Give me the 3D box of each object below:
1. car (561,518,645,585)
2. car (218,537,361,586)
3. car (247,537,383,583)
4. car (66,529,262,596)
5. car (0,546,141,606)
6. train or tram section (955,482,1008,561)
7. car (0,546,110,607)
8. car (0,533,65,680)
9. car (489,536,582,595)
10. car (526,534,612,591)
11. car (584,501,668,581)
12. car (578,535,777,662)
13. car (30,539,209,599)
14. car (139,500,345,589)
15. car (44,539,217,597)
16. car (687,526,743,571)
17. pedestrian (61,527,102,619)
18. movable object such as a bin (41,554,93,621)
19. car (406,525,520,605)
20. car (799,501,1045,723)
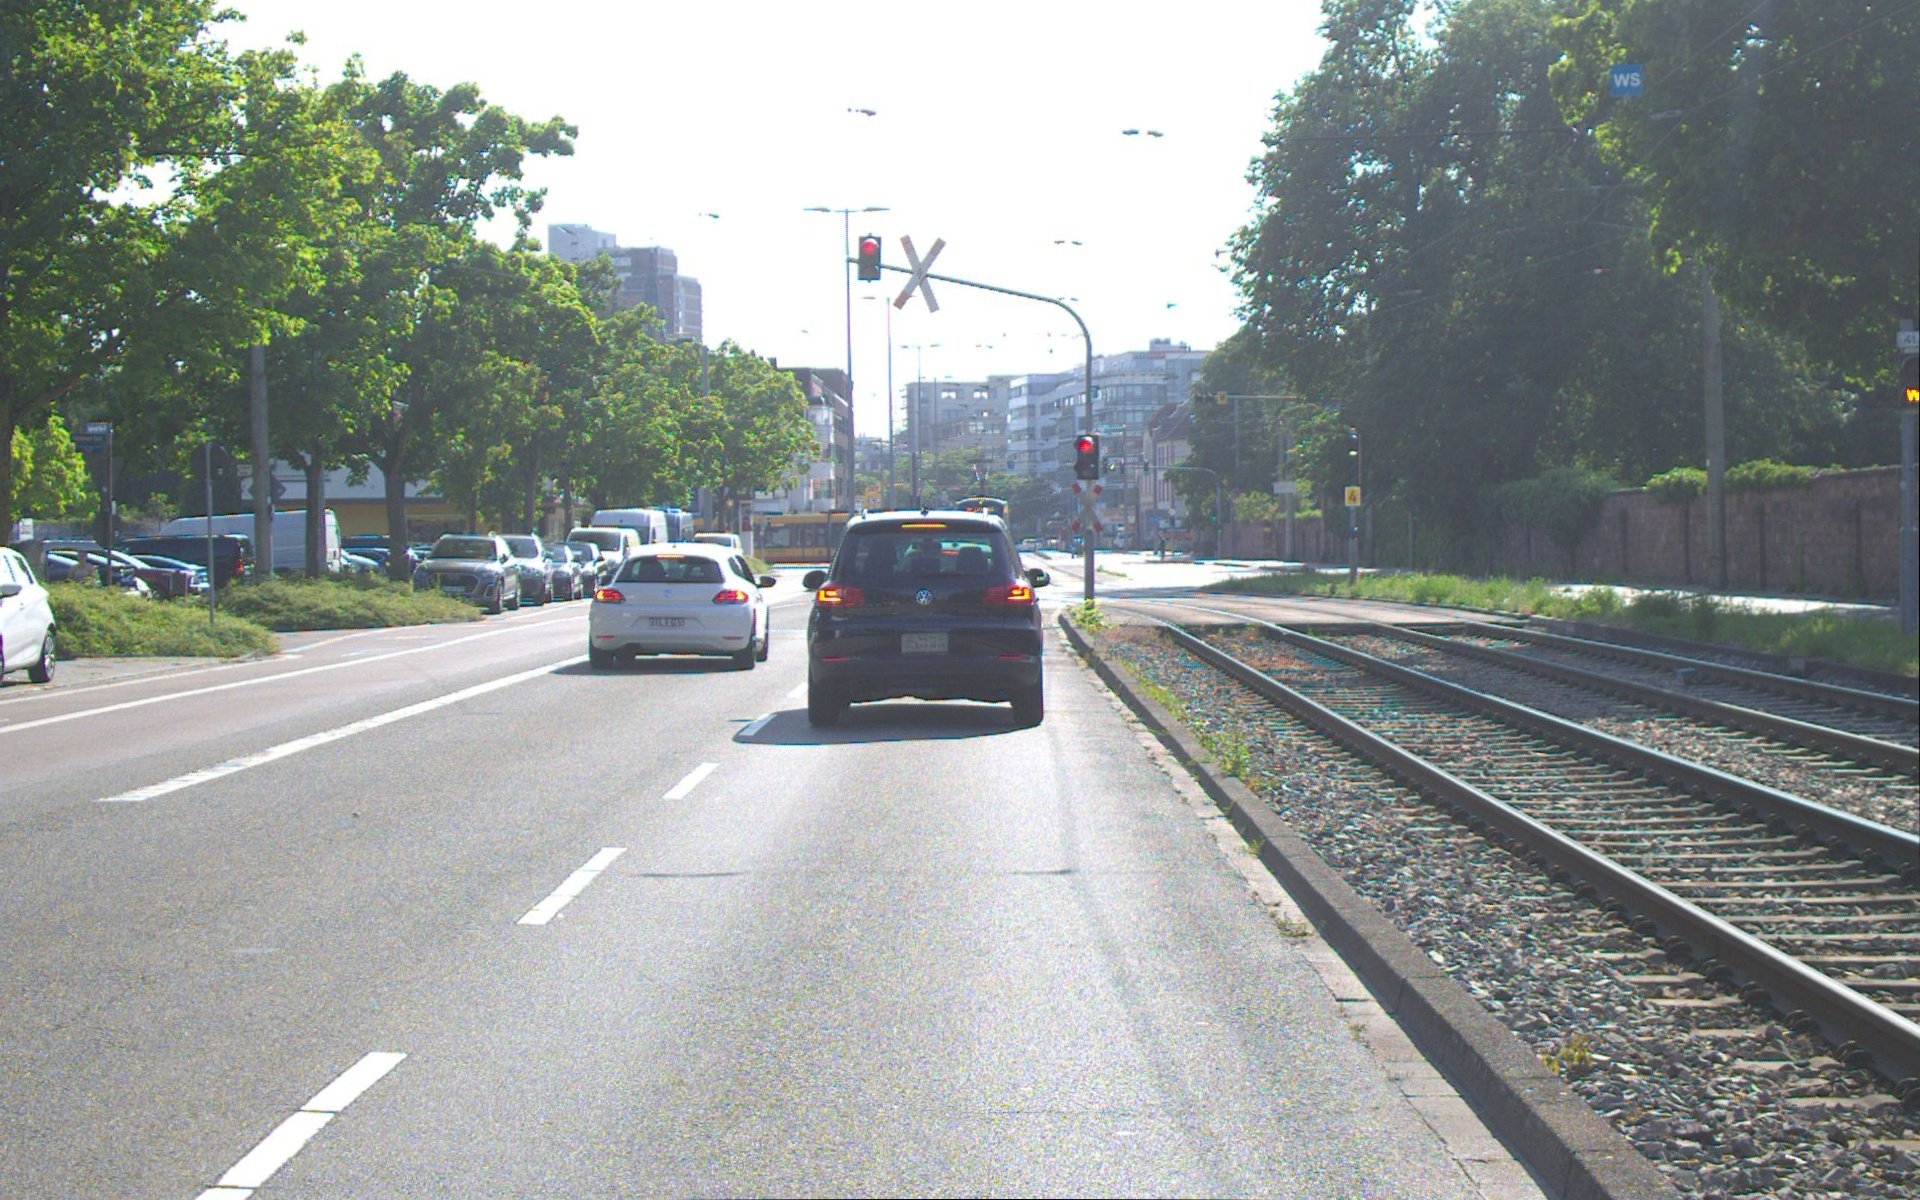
[{"bbox_3d":[-10.136,-1.405,97.922,1.732,1.853,4.489,-1,1,2],"label":"car"},{"bbox_3d":[-20.138,-1.160,103.398,3.986,1.392,1.738,-1,1,-2],"label":"car"},{"bbox_3d":[-20.402,-1.271,108.875,3.986,1.392,1.738,-1,1,-2],"label":"car"},{"bbox_3d":[-20.798,-0.999,89.957,4.617,1.646,2.049,-1,1,-1],"label":"car"},{"bbox_3d":[-21.032,-0.560,79.109,3.986,1.302,1.738,-1,1,-2],"label":"car"},{"bbox_3d":[1.049,-3.702,162.175,2.326,3.558,8.900,-1,1,1],"label":"train or tram section"},{"bbox_3d":[-21.118,-0.506,76.519,3.986,1.302,1.738,-1,1,-2],"label":"car"},{"bbox_3d":[-11.018,0.047,37.344,1.600,1.545,3.895,1,1,-1],"label":"car"},{"bbox_3d":[-10.686,-0.876,86.736,1.732,1.384,3.735,-1,2,2],"label":"car"},{"bbox_3d":[-10.510,-1.020,92.615,1.732,1.445,3.735,-1,2,2],"label":"car"},{"bbox_3d":[-10.129,-1.812,104.592,1.863,2.339,4.985,-1,1,2],"label":"car"},{"bbox_3d":[-3.136,-0.050,38.878,1.865,1.343,4.000,0,1,1],"label":"car"},{"bbox_3d":[-20.664,-0.768,84.612,3.986,1.392,1.738,-1,1,-2],"label":"car"},{"bbox_3d":[-20.421,-1.580,97.986,5.375,2.415,2.087,-1,1,1],"label":"car"},{"bbox_3d":[-21.110,-0.824,87.577,3.986,1.392,1.738,-1,1,-2],"label":"car"},{"bbox_3d":[-9.559,-2.025,134.449,1.732,1.689,4.000,-1,2,2],"label":"car"},{"bbox_3d":[-15.551,-0.486,60.883,0.524,1.622,0.610,-1,1,1],"label":"pedestrian"},{"bbox_3d":[-15.567,-0.220,59.949,0.542,1.142,1.261,-1,1,1],"label":"movable object such as a bin"},{"bbox_3d":[-10.777,-0.782,74.756,1.732,1.652,4.000,-1,1,2],"label":"car"},{"bbox_3d":[-0.254,0.060,27.442,1.811,1.639,4.000,0,1,1],"label":"car"}]
